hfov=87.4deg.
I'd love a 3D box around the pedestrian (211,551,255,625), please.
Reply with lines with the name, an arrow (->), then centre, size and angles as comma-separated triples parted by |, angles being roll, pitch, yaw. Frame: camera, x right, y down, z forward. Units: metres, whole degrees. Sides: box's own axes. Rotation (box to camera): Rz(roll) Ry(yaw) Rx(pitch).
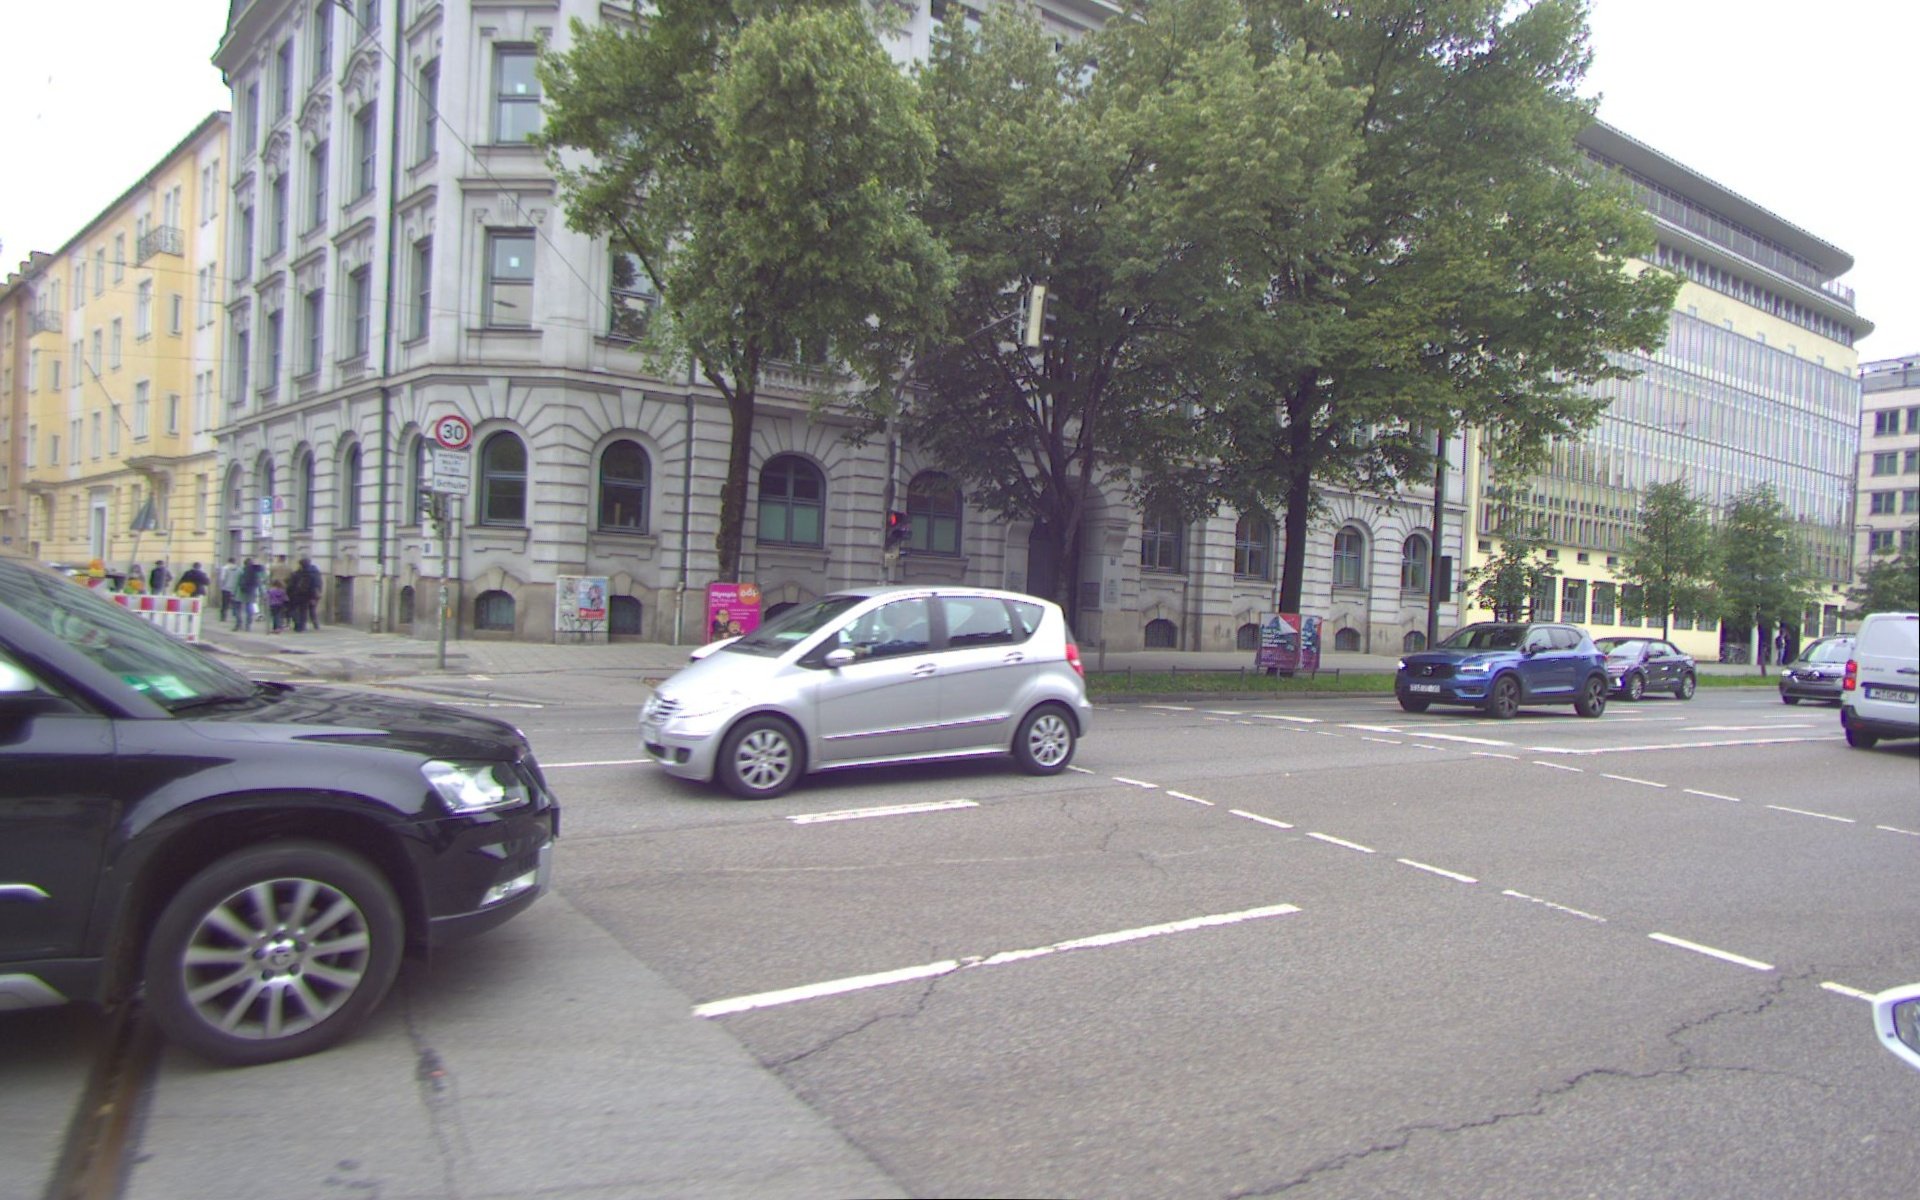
pedestrian -> -20.603, -0.343, 28.480 | 0.768, 2.040, 0.799 | 4, 2, 39

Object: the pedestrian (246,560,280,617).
pedestrian -> -20.306, -0.329, 29.281 | 0.568, 1.617, 0.645 | 4, 2, 39

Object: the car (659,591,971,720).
car -> -2.022, 0.766, 14.297 | 4.009, 1.597, 1.726 | 3, 0, -30

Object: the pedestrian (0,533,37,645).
pedestrian -> -16.284, -0.193, 17.184 | 0.462, 1.879, 0.502 | 2, 0, -11

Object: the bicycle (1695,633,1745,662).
bicycle -> 40.691, 2.540, 53.796 | 0.569, 1.336, 1.994 | 2, 2, -35

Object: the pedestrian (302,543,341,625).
pedestrian -> -16.381, -0.407, 25.774 | 0.570, 2.040, 0.664 | 4, 2, 39

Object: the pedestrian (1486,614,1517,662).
pedestrian -> 20.896, 1.481, 38.791 | 0.826, 1.800, 0.612 | 2, 2, -30

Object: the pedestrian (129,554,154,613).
pedestrian -> -26.250, -0.523, 32.216 | 0.463, 1.879, 0.500 | 3, 0, 41

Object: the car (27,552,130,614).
car -> -24.049, -0.466, 27.361 | 3.521, 1.539, 1.685 | 2, 0, 42

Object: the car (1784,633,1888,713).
car -> 22.368, 1.789, 25.737 | 1.806, 1.773, 4.239 | 3, 0, 40

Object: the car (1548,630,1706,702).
car -> 16.910, 1.658, 25.433 | 4.009, 1.597, 1.726 | 3, 0, -30

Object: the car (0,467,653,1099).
car -> -3.302, 0.448, 3.151 | 4.157, 1.658, 1.714 | 3, 0, -31

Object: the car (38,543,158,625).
car -> -20.292, -0.376, 23.604 | 3.521, 1.753, 1.685 | 2, 0, 42

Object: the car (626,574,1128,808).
car -> -0.635, 0.664, 8.525 | 3.900, 1.592, 1.626 | 2, 0, -30

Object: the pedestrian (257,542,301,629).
pedestrian -> -16.443, -0.351, 24.261 | 0.768, 2.040, 0.640 | 4, 2, 39

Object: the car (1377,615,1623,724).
car -> 9.502, 1.185, 17.603 | 4.299, 1.677, 1.831 | 3, -2, -30

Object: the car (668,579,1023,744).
car -> -1.208, 0.662, 11.875 | 1.726, 1.617, 3.975 | 0, -2, 44

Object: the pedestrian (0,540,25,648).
pedestrian -> -15.908, -0.103, 16.559 | 0.462, 1.762, 0.502 | 2, 0, -11

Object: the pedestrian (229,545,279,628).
pedestrian -> -17.780, -0.331, 25.297 | 0.768, 2.040, 0.799 | 4, 2, 39

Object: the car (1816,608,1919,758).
car -> 14.293, 1.170, 14.150 | 4.899, 1.872, 1.889 | 3, 0, -31

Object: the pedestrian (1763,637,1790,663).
pedestrian -> 45.211, 2.788, 55.633 | 1.074, 1.382, 0.833 | 2, 0, -30

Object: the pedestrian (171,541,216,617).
pedestrian -> -21.129, -0.572, 27.693 | 0.768, 2.040, 0.799 | 4, 2, 39

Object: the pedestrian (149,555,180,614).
pedestrian -> -25.895, -0.518, 32.697 | 0.670, 1.879, 0.625 | 3, 1, 40

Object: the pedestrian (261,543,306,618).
pedestrian -> -19.034, -0.553, 28.263 | 0.768, 2.040, 0.799 | 4, 2, 39

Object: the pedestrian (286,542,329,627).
pedestrian -> -16.195, -0.383, 24.930 | 0.768, 2.040, 0.664 | 4, 2, 39

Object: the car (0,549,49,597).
car -> -33.706, -0.980, 35.621 | 3.521, 1.597, 1.685 | 2, 0, 42
